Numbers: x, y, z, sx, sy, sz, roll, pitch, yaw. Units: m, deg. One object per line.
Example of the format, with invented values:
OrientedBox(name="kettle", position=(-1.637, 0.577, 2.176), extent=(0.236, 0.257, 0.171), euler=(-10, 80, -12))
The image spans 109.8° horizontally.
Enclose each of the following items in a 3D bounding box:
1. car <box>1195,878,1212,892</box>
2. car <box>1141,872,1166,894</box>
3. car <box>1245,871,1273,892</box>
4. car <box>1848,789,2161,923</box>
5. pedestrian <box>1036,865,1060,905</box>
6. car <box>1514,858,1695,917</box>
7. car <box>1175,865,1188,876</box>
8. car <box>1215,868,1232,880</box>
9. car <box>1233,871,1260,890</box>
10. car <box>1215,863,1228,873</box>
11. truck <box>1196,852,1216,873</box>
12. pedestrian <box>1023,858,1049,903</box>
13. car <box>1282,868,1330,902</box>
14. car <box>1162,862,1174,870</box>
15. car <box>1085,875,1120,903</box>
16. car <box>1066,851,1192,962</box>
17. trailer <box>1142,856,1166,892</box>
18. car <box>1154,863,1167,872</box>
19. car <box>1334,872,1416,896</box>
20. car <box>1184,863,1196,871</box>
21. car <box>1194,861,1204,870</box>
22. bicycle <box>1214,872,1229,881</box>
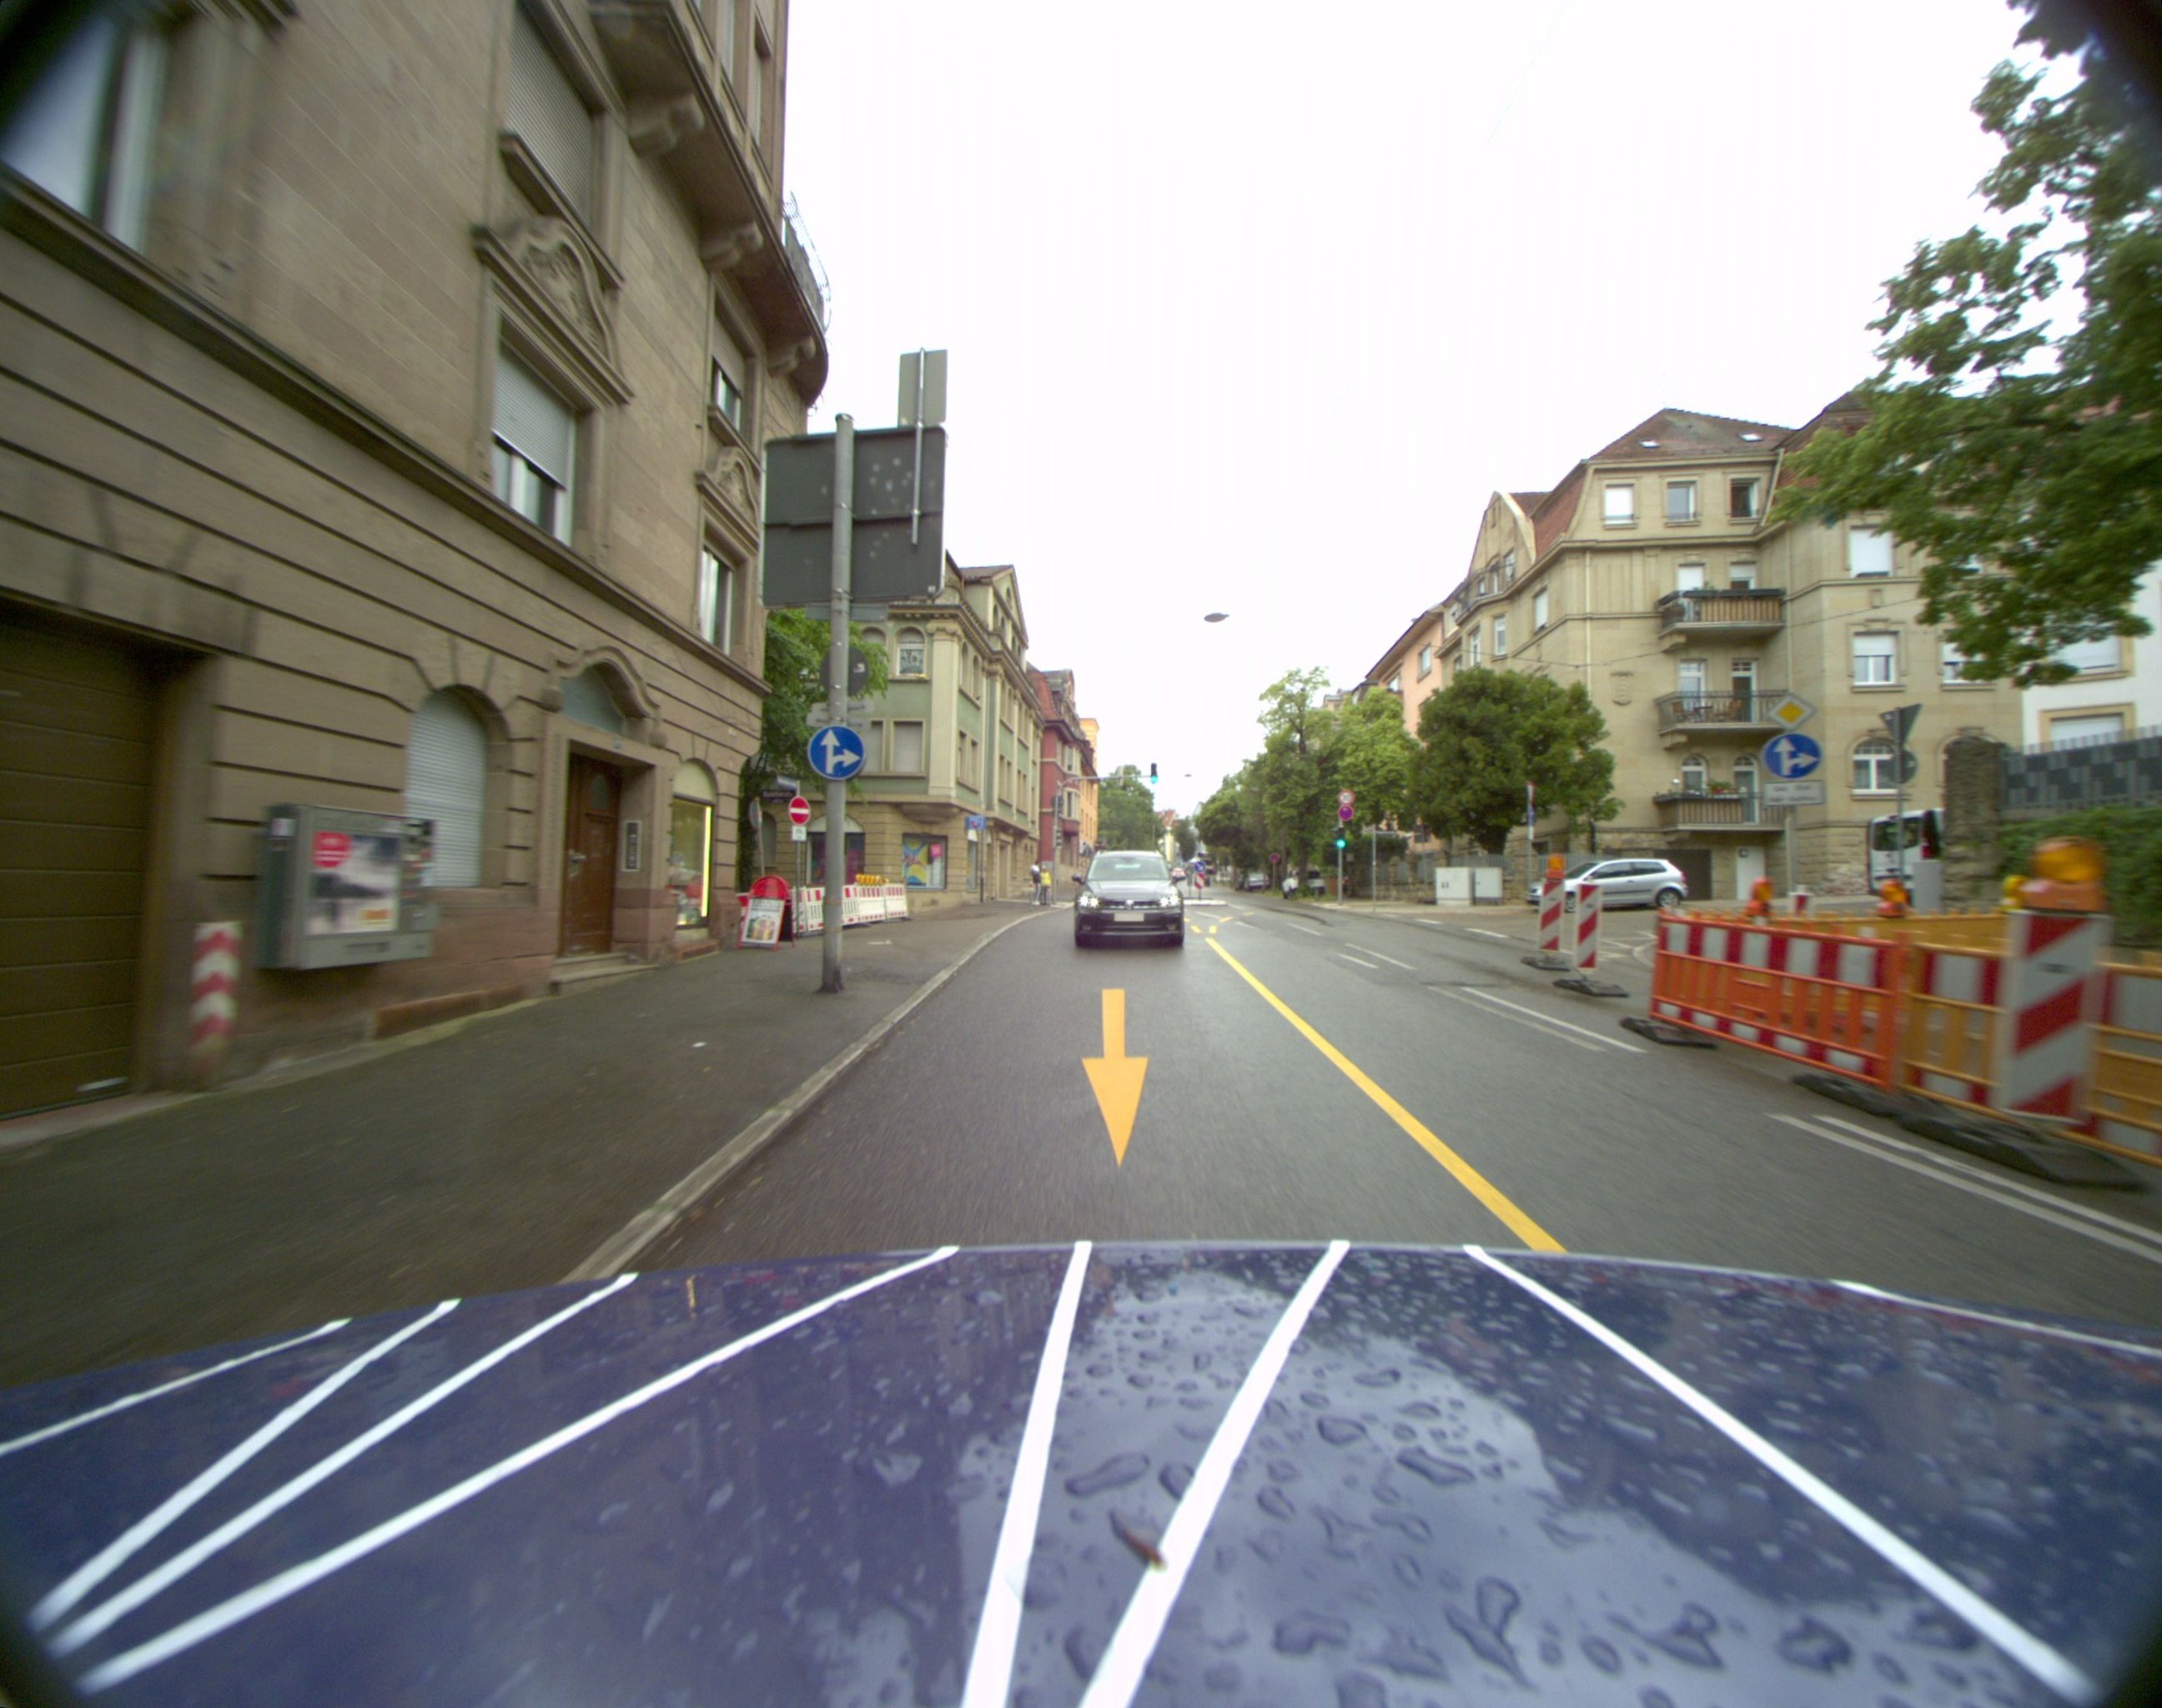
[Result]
OrientedBox(name="car", position=(14.822, 3.773, 92.019), extent=(1.819, 1.508, 4.553), euler=(2, -3, 6))
OrientedBox(name="car", position=(6.039, 2.406, 63.221), extent=(1.924, 1.641, 4.137), euler=(-2, -1, 7))
OrientedBox(name="car", position=(14.365, 2.202, 61.588), extent=(1.745, 1.550, 4.305), euler=(-2, 0, 7))
OrientedBox(name="car", position=(17.862, 0.028, 14.002), extent=(4.668, 2.035, 2.029), euler=(-6, -4, 21))
OrientedBox(name="pedestrian", position=(-1.342, 1.245, 30.711), extent=(0.663, 1.575, 0.600), euler=(1, -1, 39))
OrientedBox(name="car", position=(14.997, 0.951, 21.980), extent=(3.869, 1.401, 1.827), euler=(-4, 1, 12))
OrientedBox(name="car", position=(15.395, 2.497, 116.574), extent=(1.775, 1.508, 4.103), euler=(0, 0, 10))
OrientedBox(name="car", position=(19.485, 2.726, 104.015), extent=(1.745, 1.550, 4.304), euler=(-2, 0, 5))
OrientedBox(name="car", position=(15.174, 2.429, 69.809), extent=(1.745, 1.550, 4.303), euler=(-3, -1, 4))
OrientedBox(name="car", position=(23.838, 2.365, 128.725), extent=(1.999, 1.586, 3.831), euler=(-3, 0, 12))
OrientedBox(name="truck", position=(23.316, 1.568, 142.036), extent=(2.653, 3.832, 9.310), euler=(2, 0, 4))
OrientedBox(name="pedestrian", position=(-1.771, 1.048, 30.050), extent=(0.663, 1.763, 0.722), euler=(1, -1, 40))
OrientedBox(name="car", position=(11.773, 1.585, 40.007), extent=(1.745, 1.550, 4.305), euler=(-2, 0, 7))
OrientedBox(name="car", position=(17.607, 2.444, 153.715), extent=(1.923, 1.552, 4.016), euler=(3, 0, 11))
OrientedBox(name="car", position=(1.565, 2.407, 53.019), extent=(1.880, 1.620, 4.700), euler=(3, 0, 7))
OrientedBox(name="car", position=(0.840, 0.822, 13.851), extent=(1.859, 1.641, 5.197), euler=(0, -1, 3))
OrientedBox(name="trailer", position=(6.382, 1.744, 66.425), extent=(1.966, 3.023, 2.366), euler=(-2, 0, 7))
OrientedBox(name="car", position=(15.080, 2.551, 144.313), extent=(1.923, 1.552, 4.015), euler=(3, 1, 11))
OrientedBox(name="car", position=(16.683, 1.719, 43.295), extent=(3.995, 1.318, 1.838), euler=(0, -1, 5))
OrientedBox(name="car", position=(19.559, 2.332, 136.402), extent=(1.714, 1.471, 4.118), euler=(2, 0, 13))
OrientedBox(name="car", position=(23.180, 2.288, 149.276), extent=(1.654, 1.698, 4.117), euler=(2, 1, 13))
OrientedBox(name="bicycle", position=(19.733, 3.122, 106.911), extent=(1.979, 1.228, 0.658), euler=(0, 0, 6))
